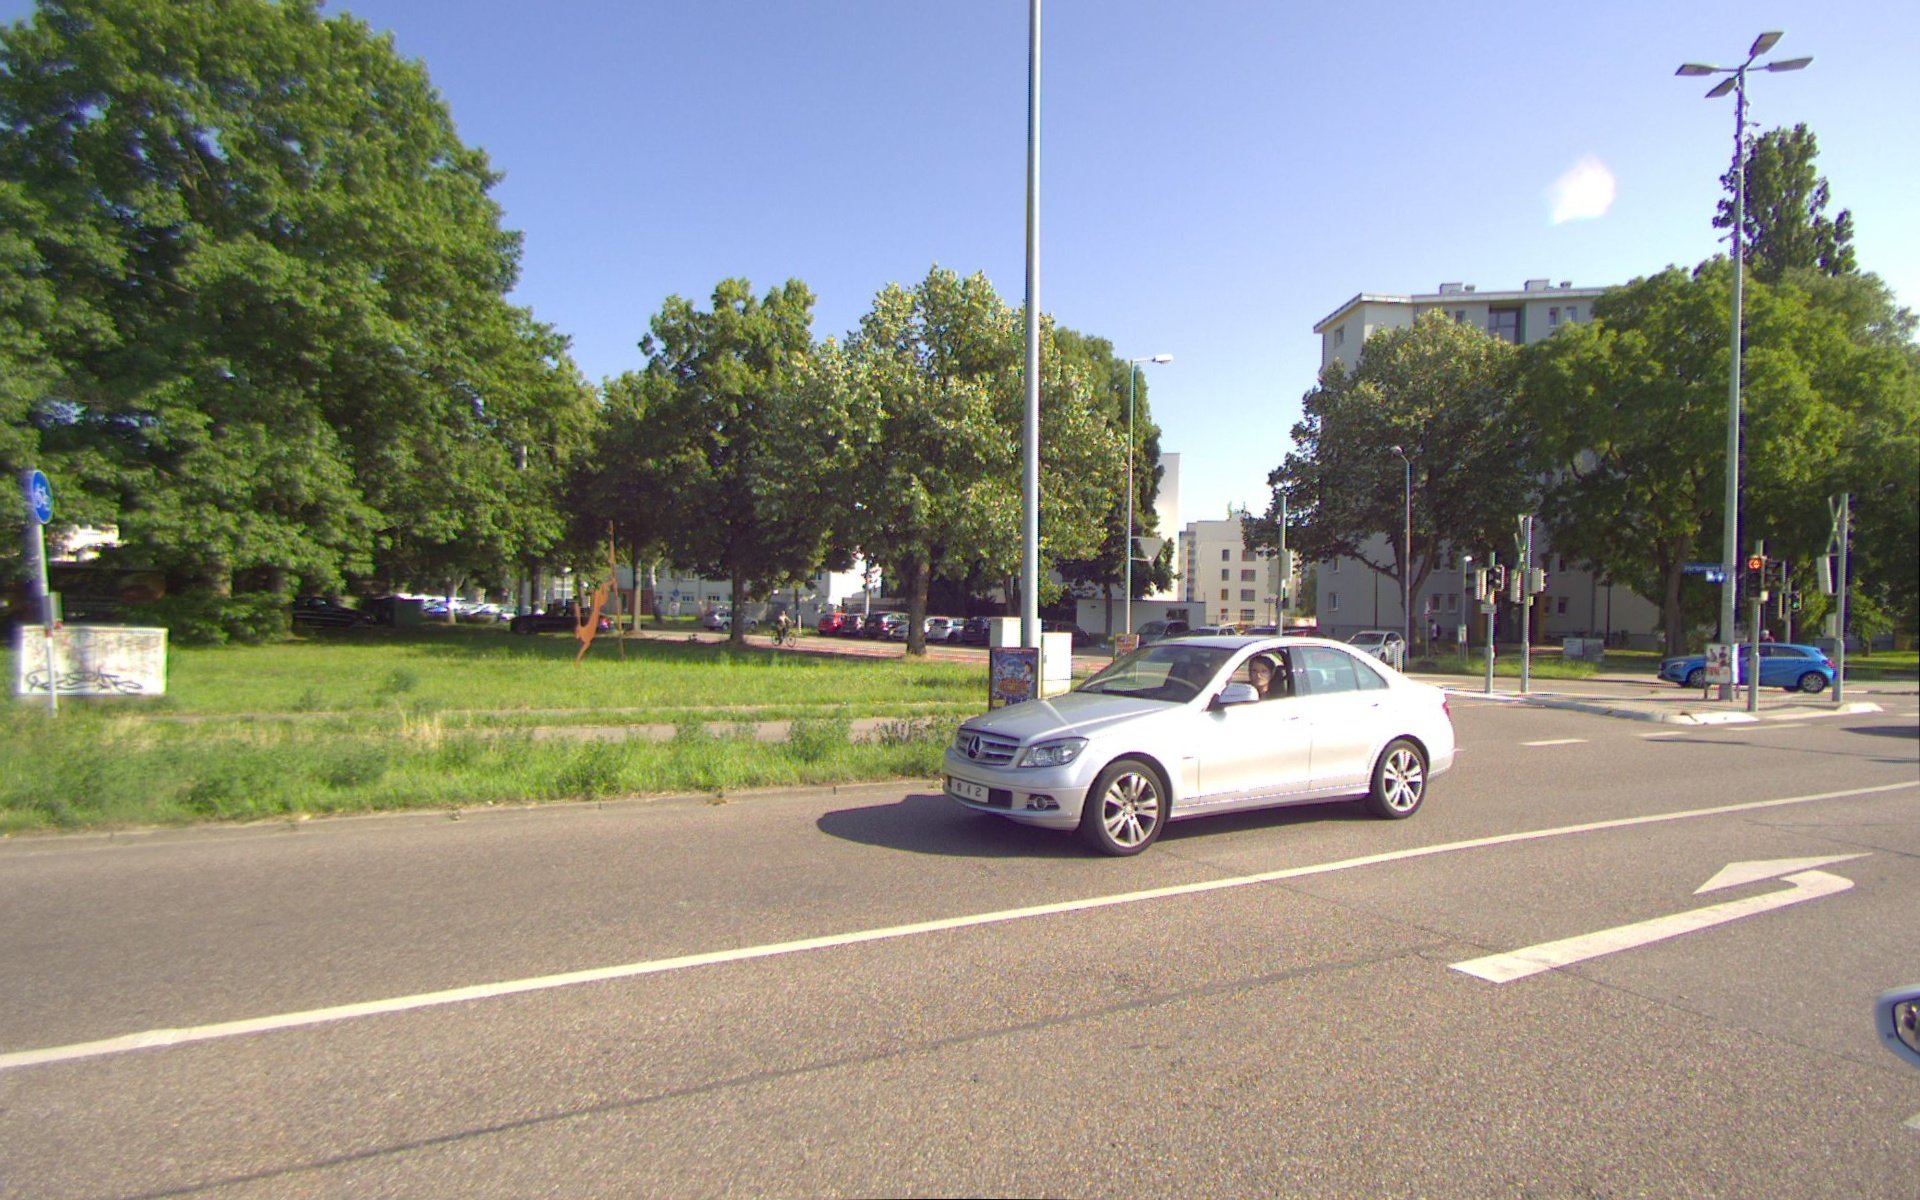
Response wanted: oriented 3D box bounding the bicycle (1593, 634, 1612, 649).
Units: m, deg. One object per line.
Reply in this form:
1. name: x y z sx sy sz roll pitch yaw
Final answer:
1. bicycle: 39.098 2.511 61.148 0.663 0.887 2.482 1 -1 26

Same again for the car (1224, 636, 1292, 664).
1. car: 13.830 2.303 46.502 1.445 1.209 3.764 1 -1 44

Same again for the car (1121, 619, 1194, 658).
1. car: 9.922 1.906 50.277 1.760 1.835 3.978 1 -1 42

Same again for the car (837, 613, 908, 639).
1. car: -5.618 1.653 64.953 1.758 1.497 4.790 1 2 40

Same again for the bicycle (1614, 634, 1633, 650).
1. bicycle: 40.041 2.529 60.662 0.658 0.932 2.404 1 -1 26

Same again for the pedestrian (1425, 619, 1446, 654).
1. pedestrian: 23.586 1.812 49.803 0.693 1.736 0.623 1 0 -17

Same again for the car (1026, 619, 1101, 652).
1. car: 5.726 1.908 55.083 1.758 1.497 4.790 1 2 40

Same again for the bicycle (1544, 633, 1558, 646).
1. bicycle: 36.752 2.464 62.477 0.574 0.718 2.236 1 0 26

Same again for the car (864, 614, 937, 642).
1. car: -3.666 1.731 62.675 1.758 1.497 4.790 1 2 40

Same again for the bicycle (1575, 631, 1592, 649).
1. bicycle: 38.133 2.462 61.421 0.601 1.080 1.916 2 -2 24

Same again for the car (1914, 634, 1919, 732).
1. car: 17.648 1.382 16.510 3.951 1.582 1.738 2 -2 -29

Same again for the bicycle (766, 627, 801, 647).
1. bicycle: -8.536 1.772 48.597 1.782 0.915 0.651 1 0 40

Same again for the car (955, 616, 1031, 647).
1. car: 1.946 1.773 57.861 1.758 1.497 4.790 1 3 40

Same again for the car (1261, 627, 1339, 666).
1. car: 15.308 2.050 45.132 1.761 1.435 3.974 1 3 45

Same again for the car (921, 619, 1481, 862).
1. car: 1.995 0.941 7.953 4.316 1.484 1.695 2 -2 -29

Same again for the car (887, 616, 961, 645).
1. car: -2.119 1.797 60.731 1.758 1.497 4.790 1 2 40

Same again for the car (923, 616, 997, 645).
1. car: 0.064 1.775 59.461 1.758 1.497 4.754 1 2 40

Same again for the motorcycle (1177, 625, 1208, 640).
1. motorcycle: 16.430 2.293 70.988 2.003 0.977 0.527 1 0 5

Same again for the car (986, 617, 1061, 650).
1. car: 3.578 1.829 55.764 1.758 1.497 4.691 1 3 40

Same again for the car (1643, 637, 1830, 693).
1. car: 23.432 1.928 30.511 4.164 1.433 1.784 2 -1 25

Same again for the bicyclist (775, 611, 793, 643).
1. bicyclist: -8.515 1.294 48.580 0.617 1.544 0.616 1 1 36

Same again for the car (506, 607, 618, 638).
1. car: -19.029 1.068 48.179 4.682 1.338 1.524 2 -1 -8

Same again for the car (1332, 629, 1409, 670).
1. car: 17.647 2.083 43.094 1.760 1.459 3.976 1 2 43

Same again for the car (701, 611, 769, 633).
1. car: -16.658 1.643 74.532 1.761 1.497 4.785 1 -1 44

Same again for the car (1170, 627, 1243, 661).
1. car: 11.920 2.099 48.414 1.760 1.541 3.978 1 -1 42

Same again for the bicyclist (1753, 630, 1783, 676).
1. bicyclist: 28.041 1.839 34.857 0.594 1.581 0.606 2 0 -22

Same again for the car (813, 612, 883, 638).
1. car: -7.364 1.628 66.442 1.758 1.497 4.790 1 2 40
